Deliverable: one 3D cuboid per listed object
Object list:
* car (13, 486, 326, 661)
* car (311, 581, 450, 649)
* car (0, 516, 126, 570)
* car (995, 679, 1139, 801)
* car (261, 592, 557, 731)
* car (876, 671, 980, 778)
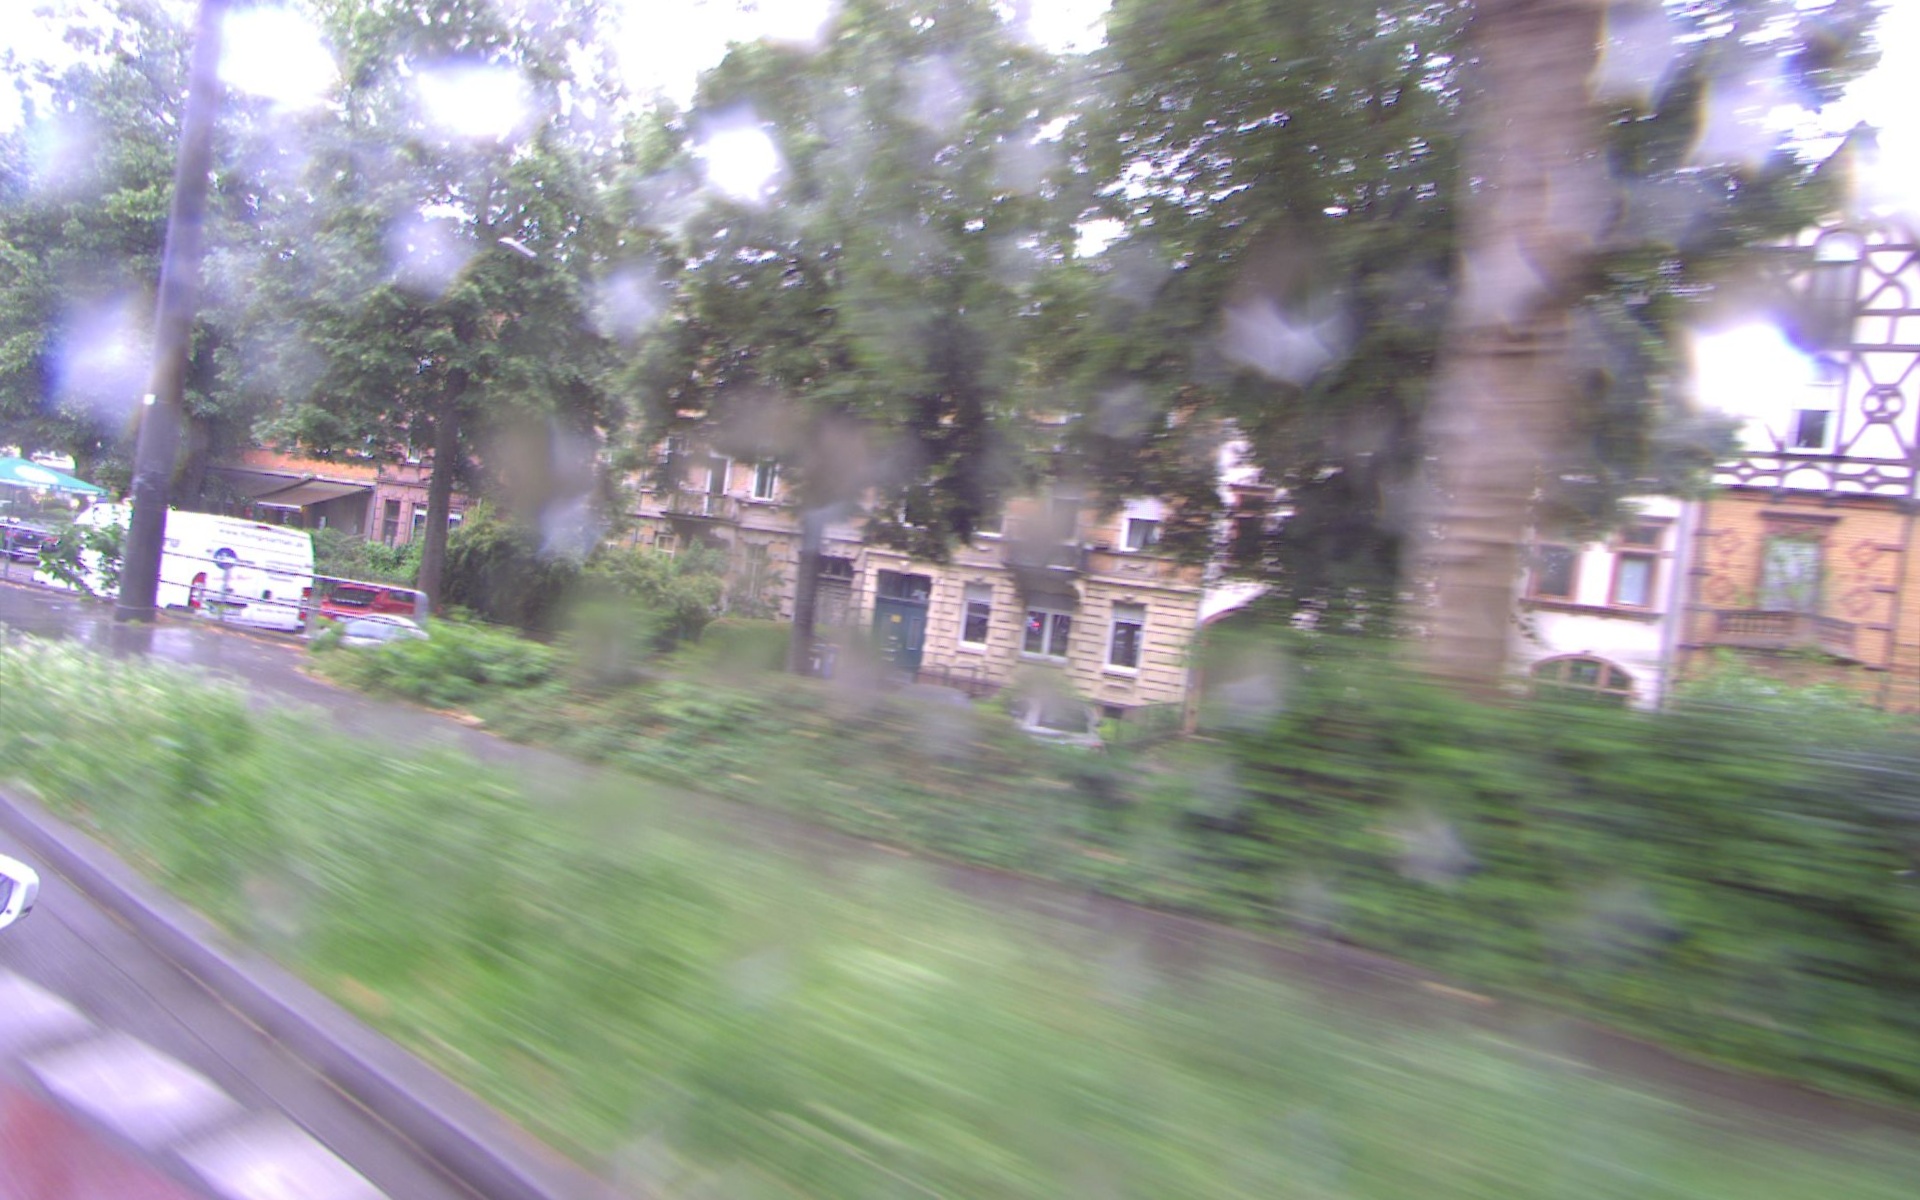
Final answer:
[{"bbox_3d":[-15.137,-0.520,19.223,5.673,2.564,2.185,8,1,24],"label":"car"},{"bbox_3d":[-15.201,0.345,26.608,1.679,1.455,3.668,7,0,-5],"label":"car"},{"bbox_3d":[-30.977,-1.934,34.700,1.862,1.497,3.985,7,0,-17],"label":"car"},{"bbox_3d":[1.926,2.591,19.394,1.884,1.578,3.798,7,0,-5],"label":"car"},{"bbox_3d":[-8.869,0.925,16.196,4.273,1.509,1.827,8,1,23],"label":"car"},{"bbox_3d":[-0.581,2.366,20.000,1.694,1.402,4.122,7,0,0],"label":"car"}]
